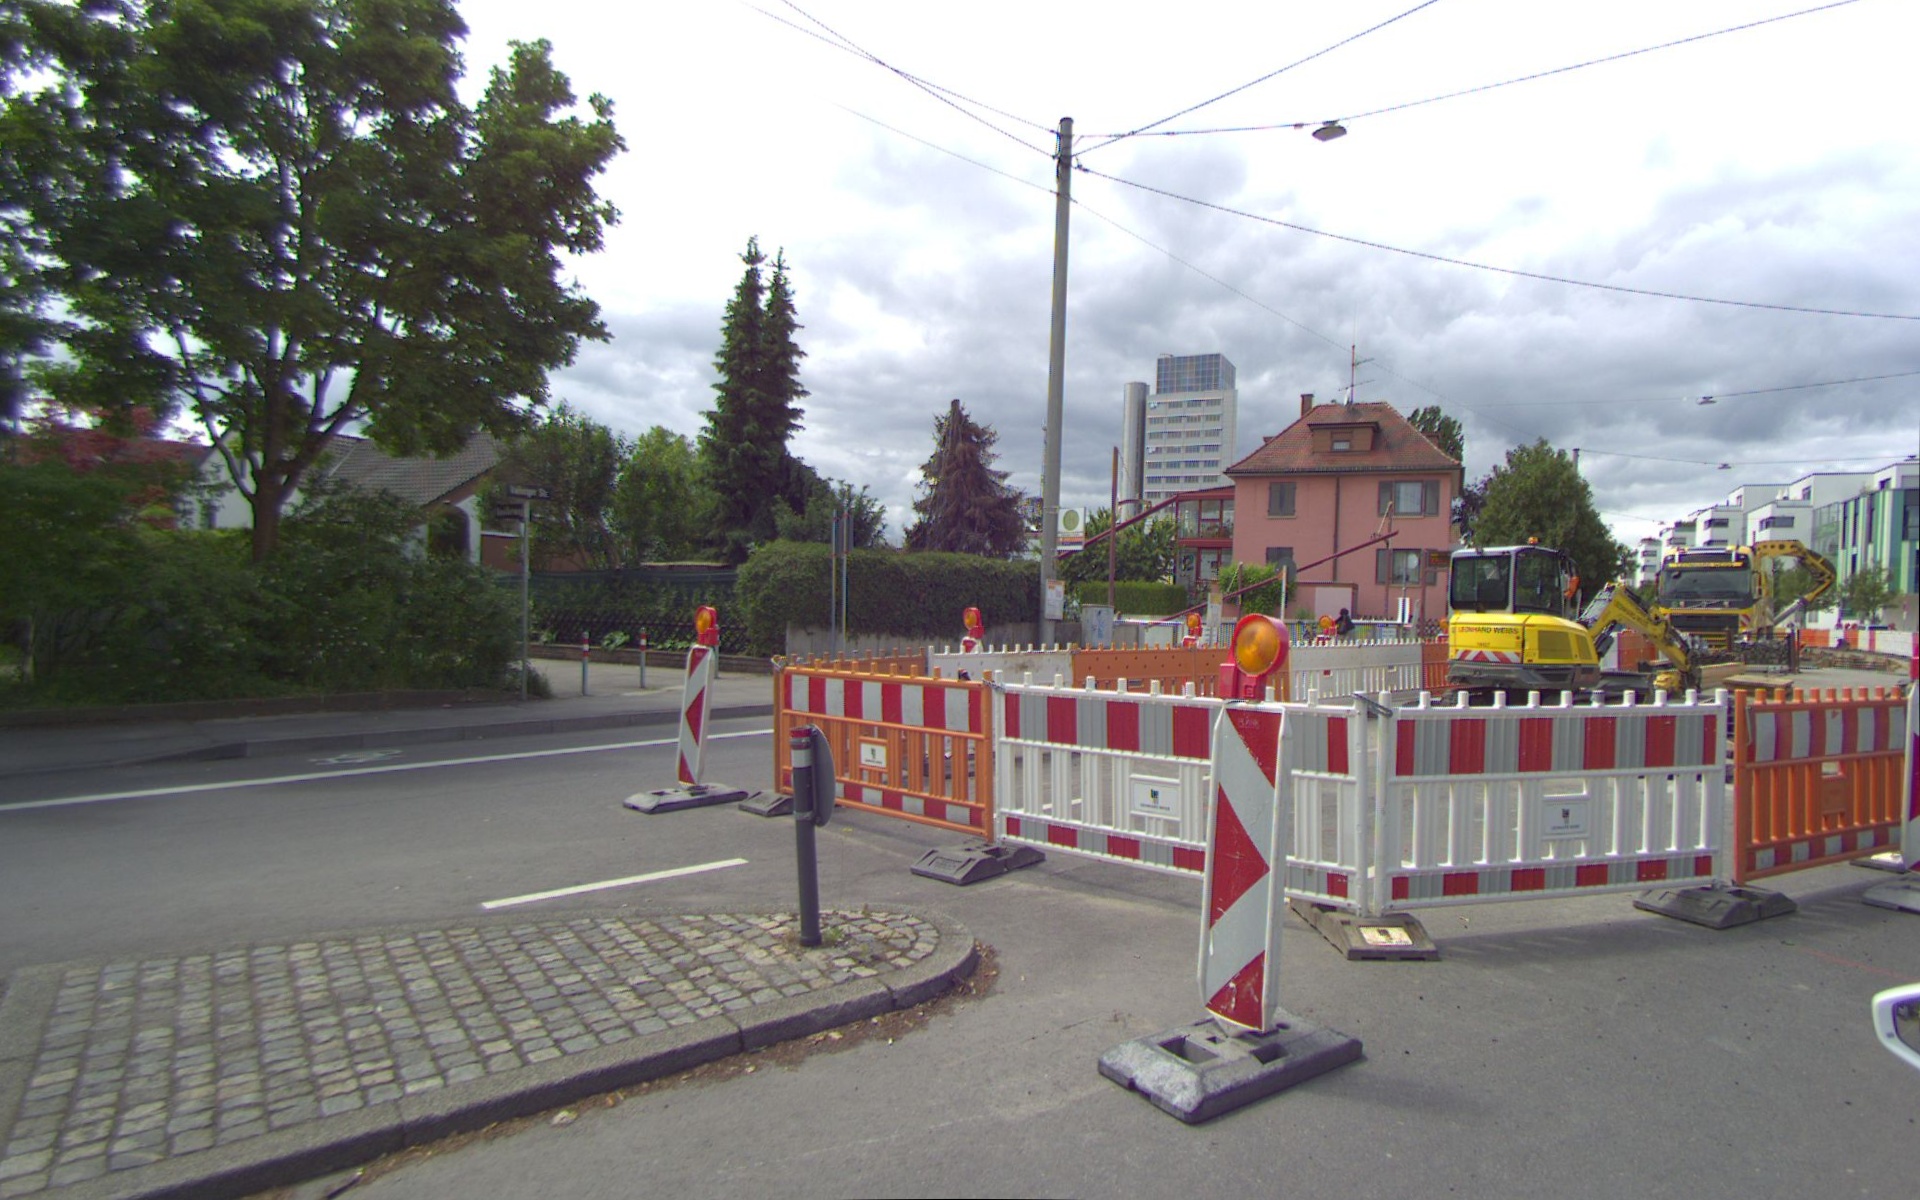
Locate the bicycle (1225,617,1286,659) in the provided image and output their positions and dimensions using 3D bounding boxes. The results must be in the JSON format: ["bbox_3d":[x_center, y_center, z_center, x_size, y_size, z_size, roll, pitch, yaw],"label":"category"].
[{"bbox_3d":[8.046,1.015,27.281,2.115,1.097,0.533,1,0,-41],"label":"bicycle"}]

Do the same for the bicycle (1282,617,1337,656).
[{"bbox_3d":[10.137,1.051,29.094,2.115,1.097,0.533,1,0,-41],"label":"bicycle"}]

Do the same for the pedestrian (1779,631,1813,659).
[{"bbox_3d":[31.472,1.679,37.811,0.803,1.004,0.786,1,0,-34],"label":"pedestrian"}]

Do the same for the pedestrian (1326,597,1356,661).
[{"bbox_3d":[11.492,0.855,30.299,0.581,1.911,0.673,1,0,-43],"label":"pedestrian"}]

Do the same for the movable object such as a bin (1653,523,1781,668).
[{"bbox_3d":[26.405,-0.064,34.770,2.562,4.277,11.060,0,0,42],"label":"movable object such as a bin"}]

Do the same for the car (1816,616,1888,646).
[{"bbox_3d":[50.058,1.718,56.439,1.815,1.533,3.998,3,1,23],"label":"car"}]

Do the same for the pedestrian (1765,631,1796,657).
[{"bbox_3d":[31.727,1.696,38.859,0.782,1.004,0.639,1,0,-24],"label":"pedestrian"}]

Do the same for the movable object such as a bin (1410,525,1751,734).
[{"bbox_3d":[9.703,0.418,15.448,6.454,2.660,1.981,1,0,-34],"label":"movable object such as a bin"}]
